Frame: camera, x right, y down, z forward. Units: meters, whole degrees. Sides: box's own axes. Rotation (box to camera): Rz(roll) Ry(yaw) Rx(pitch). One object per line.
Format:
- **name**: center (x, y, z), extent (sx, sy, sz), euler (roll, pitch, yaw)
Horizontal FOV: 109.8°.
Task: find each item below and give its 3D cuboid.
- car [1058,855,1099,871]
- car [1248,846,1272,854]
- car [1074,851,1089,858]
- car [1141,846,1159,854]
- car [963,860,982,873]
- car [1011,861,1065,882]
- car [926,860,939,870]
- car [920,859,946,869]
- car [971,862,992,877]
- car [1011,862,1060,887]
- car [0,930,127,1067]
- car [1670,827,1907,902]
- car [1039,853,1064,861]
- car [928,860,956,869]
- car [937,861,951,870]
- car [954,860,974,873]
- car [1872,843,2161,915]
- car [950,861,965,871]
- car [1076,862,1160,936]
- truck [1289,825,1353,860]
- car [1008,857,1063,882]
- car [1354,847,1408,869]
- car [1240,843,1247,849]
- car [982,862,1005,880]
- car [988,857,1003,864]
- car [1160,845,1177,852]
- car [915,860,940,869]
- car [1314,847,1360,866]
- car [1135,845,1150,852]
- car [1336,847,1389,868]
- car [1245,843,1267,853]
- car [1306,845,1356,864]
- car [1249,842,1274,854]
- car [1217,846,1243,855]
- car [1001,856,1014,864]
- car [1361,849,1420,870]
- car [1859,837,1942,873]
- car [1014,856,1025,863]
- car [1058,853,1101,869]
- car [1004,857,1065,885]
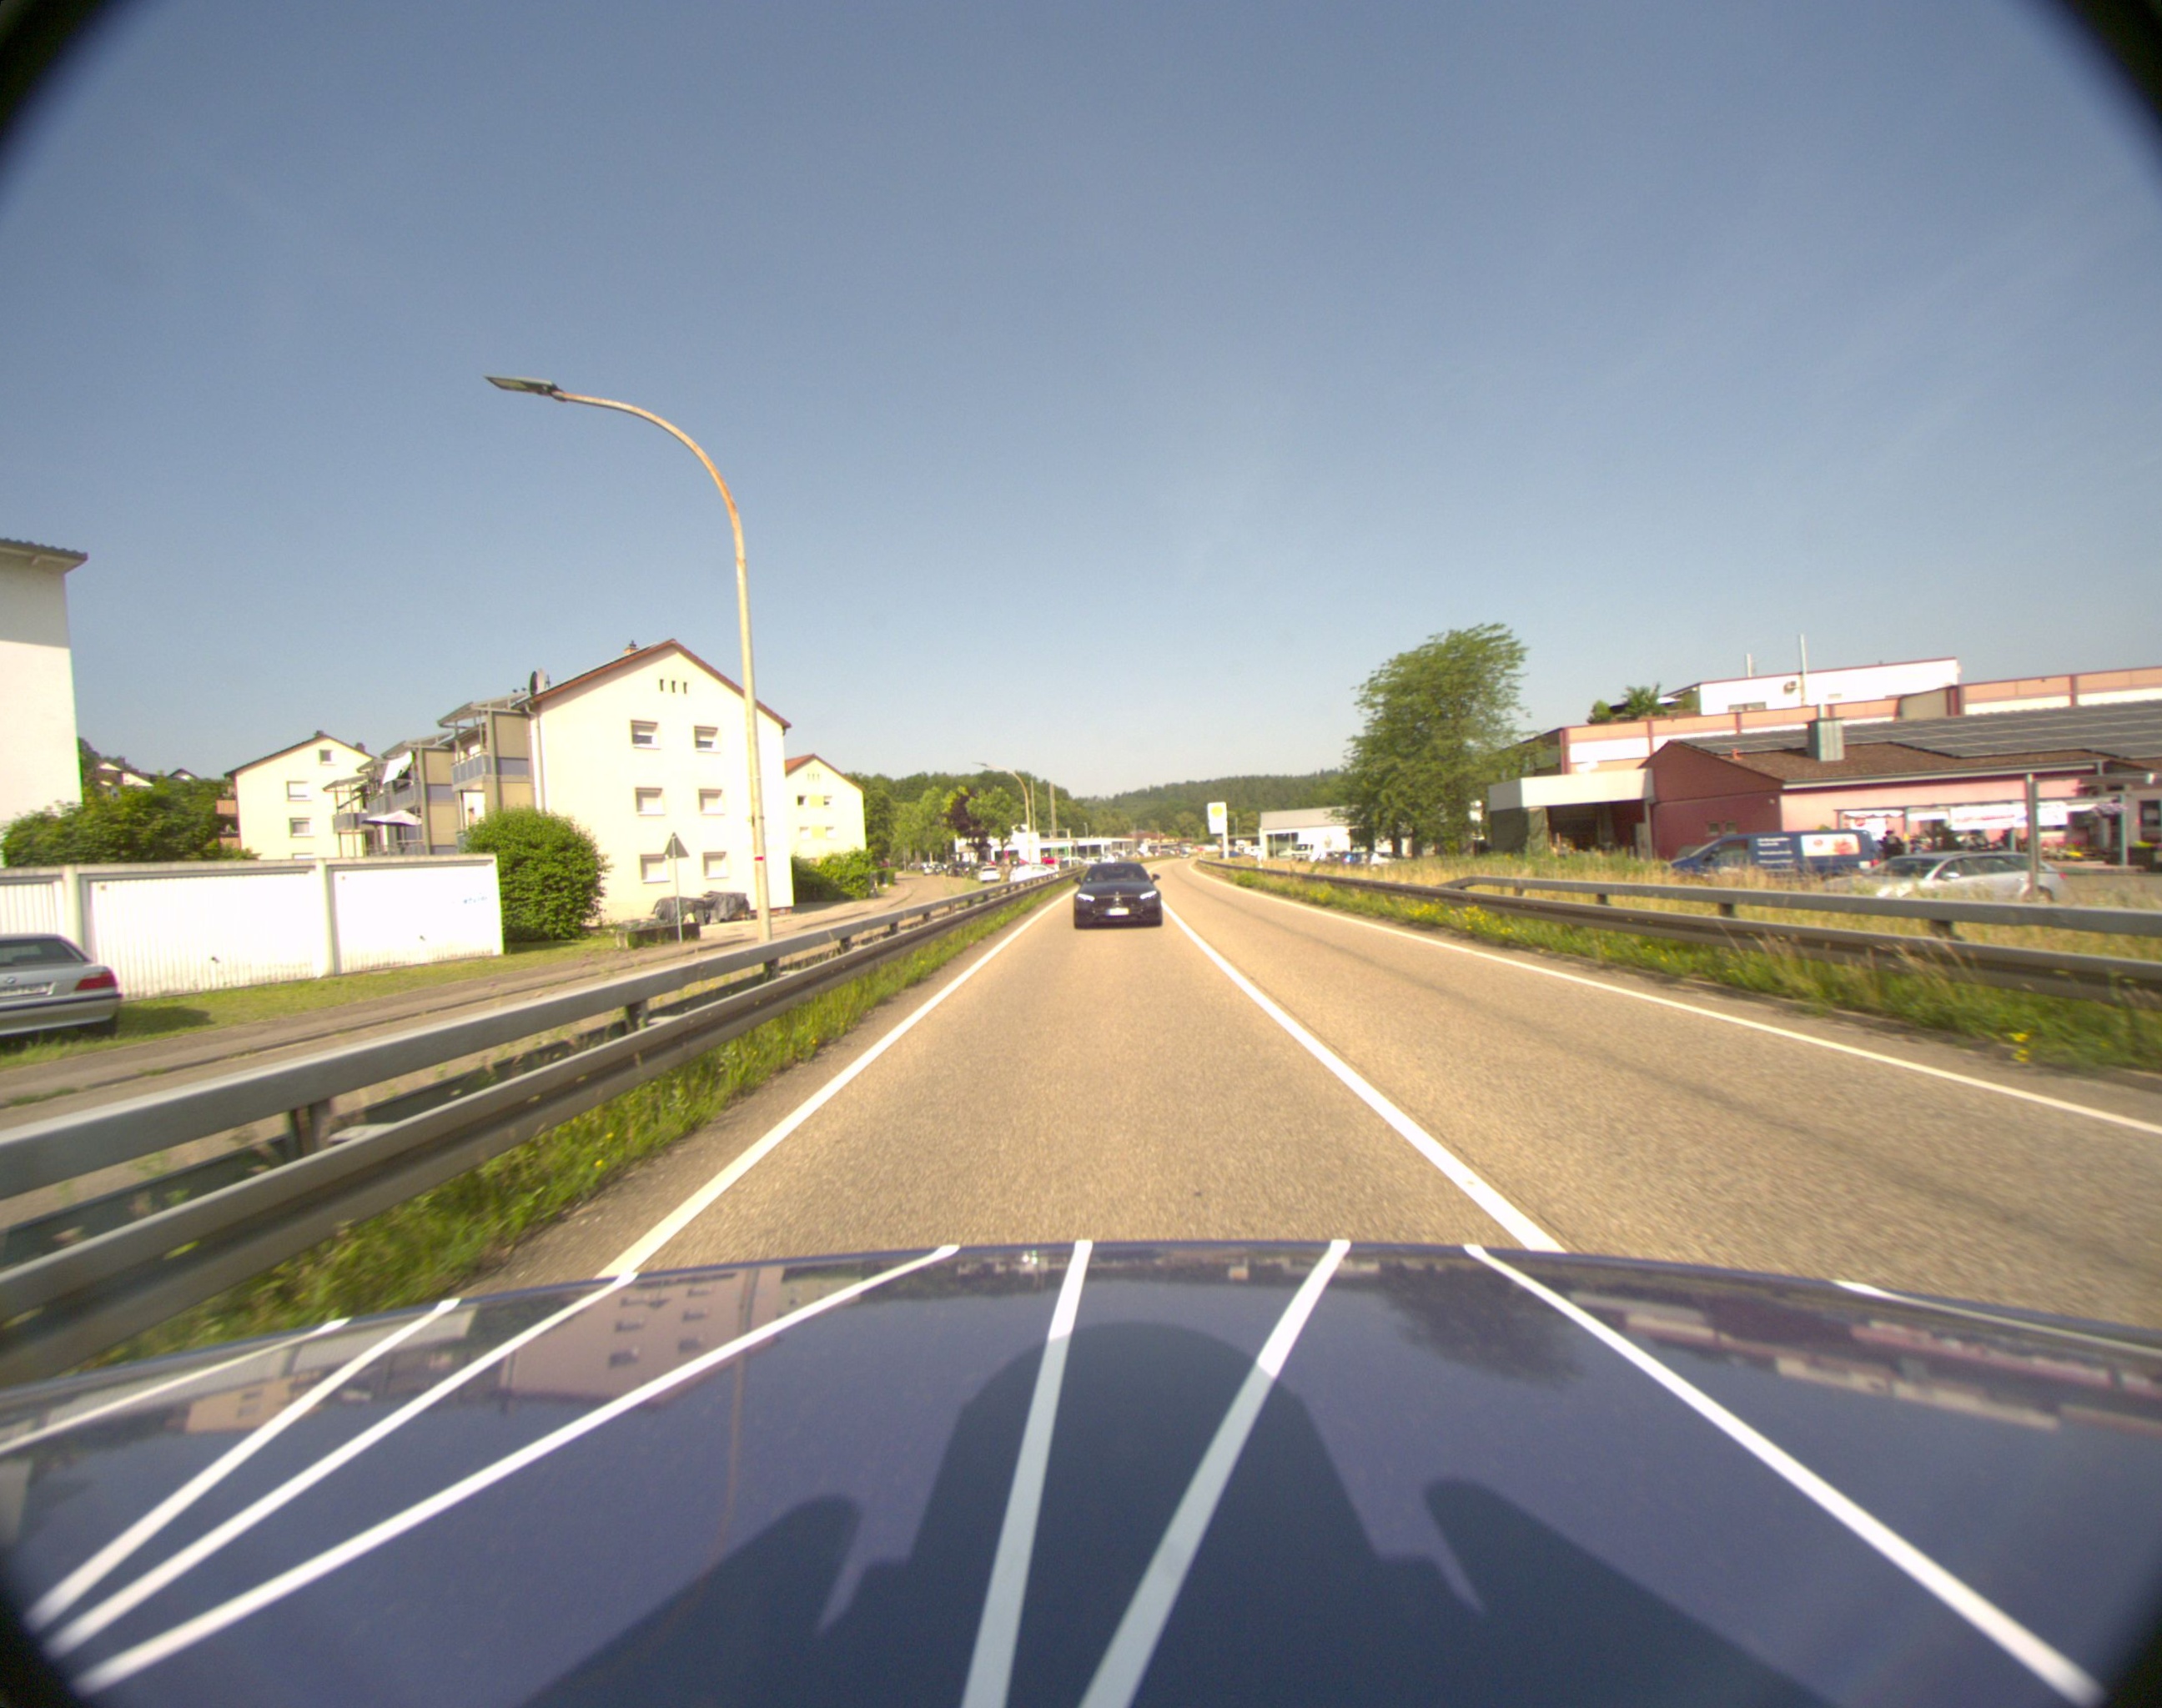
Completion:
- **car**: center (-0.275, 0.993, 84.059), extent (4.156, 1.474, 1.884), euler (-4, 1, 12)
- **car**: center (35.532, -0.822, 150.757), extent (4.235, 1.395, 1.894), euler (-4, 1, -26)
- **car**: center (0.141, 0.136, 173.598), extent (1.933, 1.556, 4.744), euler (-2, 1, -18)
- **car**: center (16.756, -0.948, 183.540), extent (3.882, 1.654, 1.843), euler (-1, 1, 23)
- **car**: center (-12.187, 1.388, 85.106), extent (1.657, 1.358, 3.658), euler (-3, 1, -14)
- **car**: center (-3.417, 1.362, 60.480), extent (4.071, 1.444, 1.727), euler (-3, 1, -9)
- **car**: center (-22.905, 1.703, 116.902), extent (1.788, 1.466, 3.983), euler (-3, 1, -13)
- **car**: center (-28.513, 1.959, 146.198), extent (4.753, 1.625, 1.929), euler (-2, 1, -12)
- **car**: center (-10.047, 1.534, 76.563), extent (1.710, 1.397, 3.658), euler (-3, 1, -14)
- **car**: center (-3.180, 1.384, 52.800), extent (3.273, 1.368, 1.548), euler (-5, 2, -5)
- **car**: center (-14.386, 1.817, 9.913), extent (4.599, 1.340, 1.758), euler (-1, 0, 30)
- **car**: center (20.513, 0.326, 22.391), extent (4.892, 2.002, 2.004), euler (-2, 0, 39)
- **car**: center (-6.141, 0.660, 156.111), extent (4.742, 1.556, 1.934), euler (-1, 1, 16)
- **car**: center (-24.904, 1.872, 136.297), extent (4.755, 1.450, 1.928), euler (-2, 1, -19)
- **car**: center (-20.165, 1.655, 111.629), extent (1.595, 1.179, 3.657), euler (-3, 1, -18)
- **car**: center (-14.372, 1.505, 93.087), extent (1.915, 1.397, 4.519), euler (-3, 1, -14)
- **car**: center (21.249, 0.544, 17.315), extent (4.627, 1.374, 1.743), euler (-2, 0, -1)
- **car**: center (-16.204, 1.584, 99.539), extent (1.595, 1.179, 3.658), euler (-3, 1, -14)
- **car**: center (0.825, 0.955, 17.886), extent (1.716, 1.382, 4.147), euler (-2, 1, 1)
- **truck**: center (27.503, -1.342, 86.770), extent (8.226, 3.536, 2.799), euler (-4, 0, -40)
- **car**: center (-3.449, 1.192, 58.052), extent (3.998, 1.441, 1.764), euler (-6, 1, -4)
- **car**: center (24.000, 0.317, 60.877), extent (3.753, 1.491, 1.859), euler (-3, 1, 13)
- **car**: center (52.802, -2.636, 246.638), extent (1.917, 1.874, 4.915), euler (-1, 1, 14)
- **car**: center (-7.577, 1.484, 65.789), extent (1.789, 1.411, 4.435), euler (-3, 0, -9)
- **car**: center (-19.287, 1.435, 172.233), extent (2.000, 1.537, 4.613), euler (-1, 1, 11)
- **car**: center (23.204, -1.371, 202.159), extent (3.990, 1.622, 1.924), euler (-2, 1, 24)
- **car**: center (-30.549, 2.020, 150.941), extent (4.753, 1.625, 1.929), euler (-2, 1, -12)
- **car**: center (24.441, 0.219, 72.632), extent (3.755, 1.491, 1.932), euler (-3, 1, 4)
- **car**: center (19.315, -1.702, 237.221), extent (4.314, 1.914, 1.793), euler (-1, 1, 20)
- **car**: center (23.620, 0.305, 63.888), extent (3.755, 1.491, 1.933), euler (-3, 1, 6)
- **car**: center (38.459, -1.262, 166.778), extent (4.678, 1.847, 2.146), euler (-4, 0, 13)
- **car**: center (24.774, 0.044, 75.407), extent (4.360, 1.645, 1.932), euler (-3, 1, 4)
- **car**: center (37.029, -1.271, 155.903), extent (4.800, 1.969, 2.231), euler (-5, 0, 13)
- **car**: center (27.507, -0.682, 140.028), extent (4.238, 1.498, 1.981), euler (-2, 0, -26)
- **car**: center (-16.665, 1.328, 171.761), extent (2.001, 1.537, 4.611), euler (-2, 1, 6)
- **car**: center (23.422, 0.399, 57.631), extent (3.755, 1.452, 1.862), euler (-2, 1, 6)
- **car**: center (28.039, 0.000, 26.043), extent (0.816, 1.139, 2.017), euler (-2, 2, 6)
- **car**: center (-13.859, 1.213, 171.476), extent (2.002, 1.537, 4.610), euler (-2, 1, 2)
- **car**: center (-0.172, 0.844, 87.307), extent (4.324, 1.630, 2.142), euler (-2, 1, 19)
- **car**: center (-3.457, 1.219, 55.946), extent (4.246, 1.563, 1.917), euler (-6, 1, -6)
